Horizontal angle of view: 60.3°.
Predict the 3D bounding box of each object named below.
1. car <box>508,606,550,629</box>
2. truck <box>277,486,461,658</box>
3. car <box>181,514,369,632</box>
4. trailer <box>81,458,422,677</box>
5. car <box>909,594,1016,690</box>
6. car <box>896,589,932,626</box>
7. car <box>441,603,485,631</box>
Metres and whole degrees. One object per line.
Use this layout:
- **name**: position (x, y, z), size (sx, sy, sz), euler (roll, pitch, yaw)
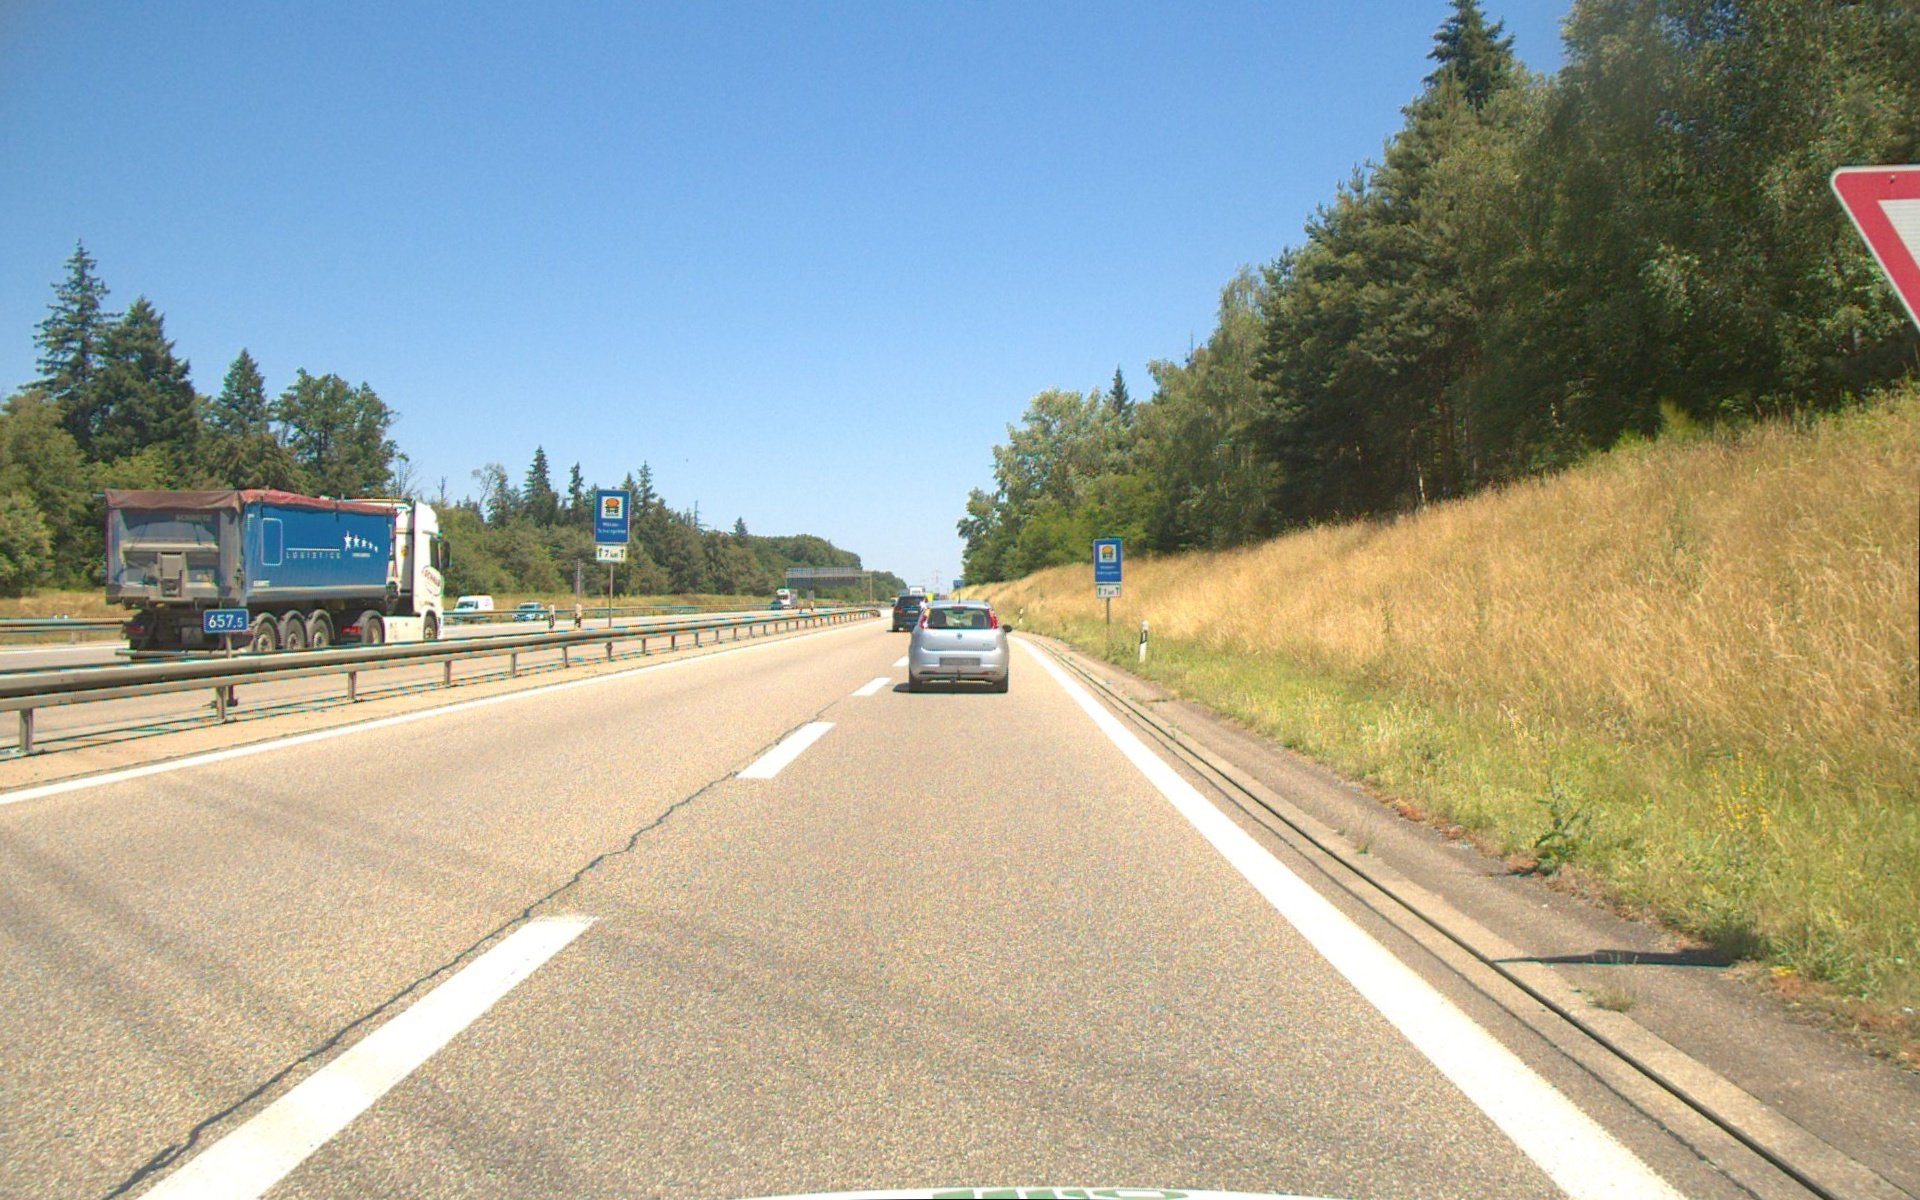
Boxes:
- **car**: position (-34.300, 1.380, 131.755), size (1.952, 1.814, 4.812), euler (-1, -1, 1)
- **truck**: position (-14.163, -0.657, 40.008), size (2.700, 3.874, 4.622), euler (-1, 0, 1)
- **car**: position (-18.389, -0.626, 44.840), size (2.579, 2.947, 6.472), euler (-1, -1, -2)
- **trailer**: position (-14.226, -0.612, 34.417), size (2.714, 3.874, 9.886), euler (-1, 0, 1)
- **car**: position (0.033, 0.680, 27.886), size (1.671, 1.508, 3.397), euler (1, -1, 0)
- **car**: position (-2.202, 0.383, 78.652), size (1.672, 1.706, 3.395), euler (-1, -1, -3)
- **car**: position (-47.211, 1.630, 157.147), size (1.952, 2.588, 6.914), euler (-1, -1, 1)
